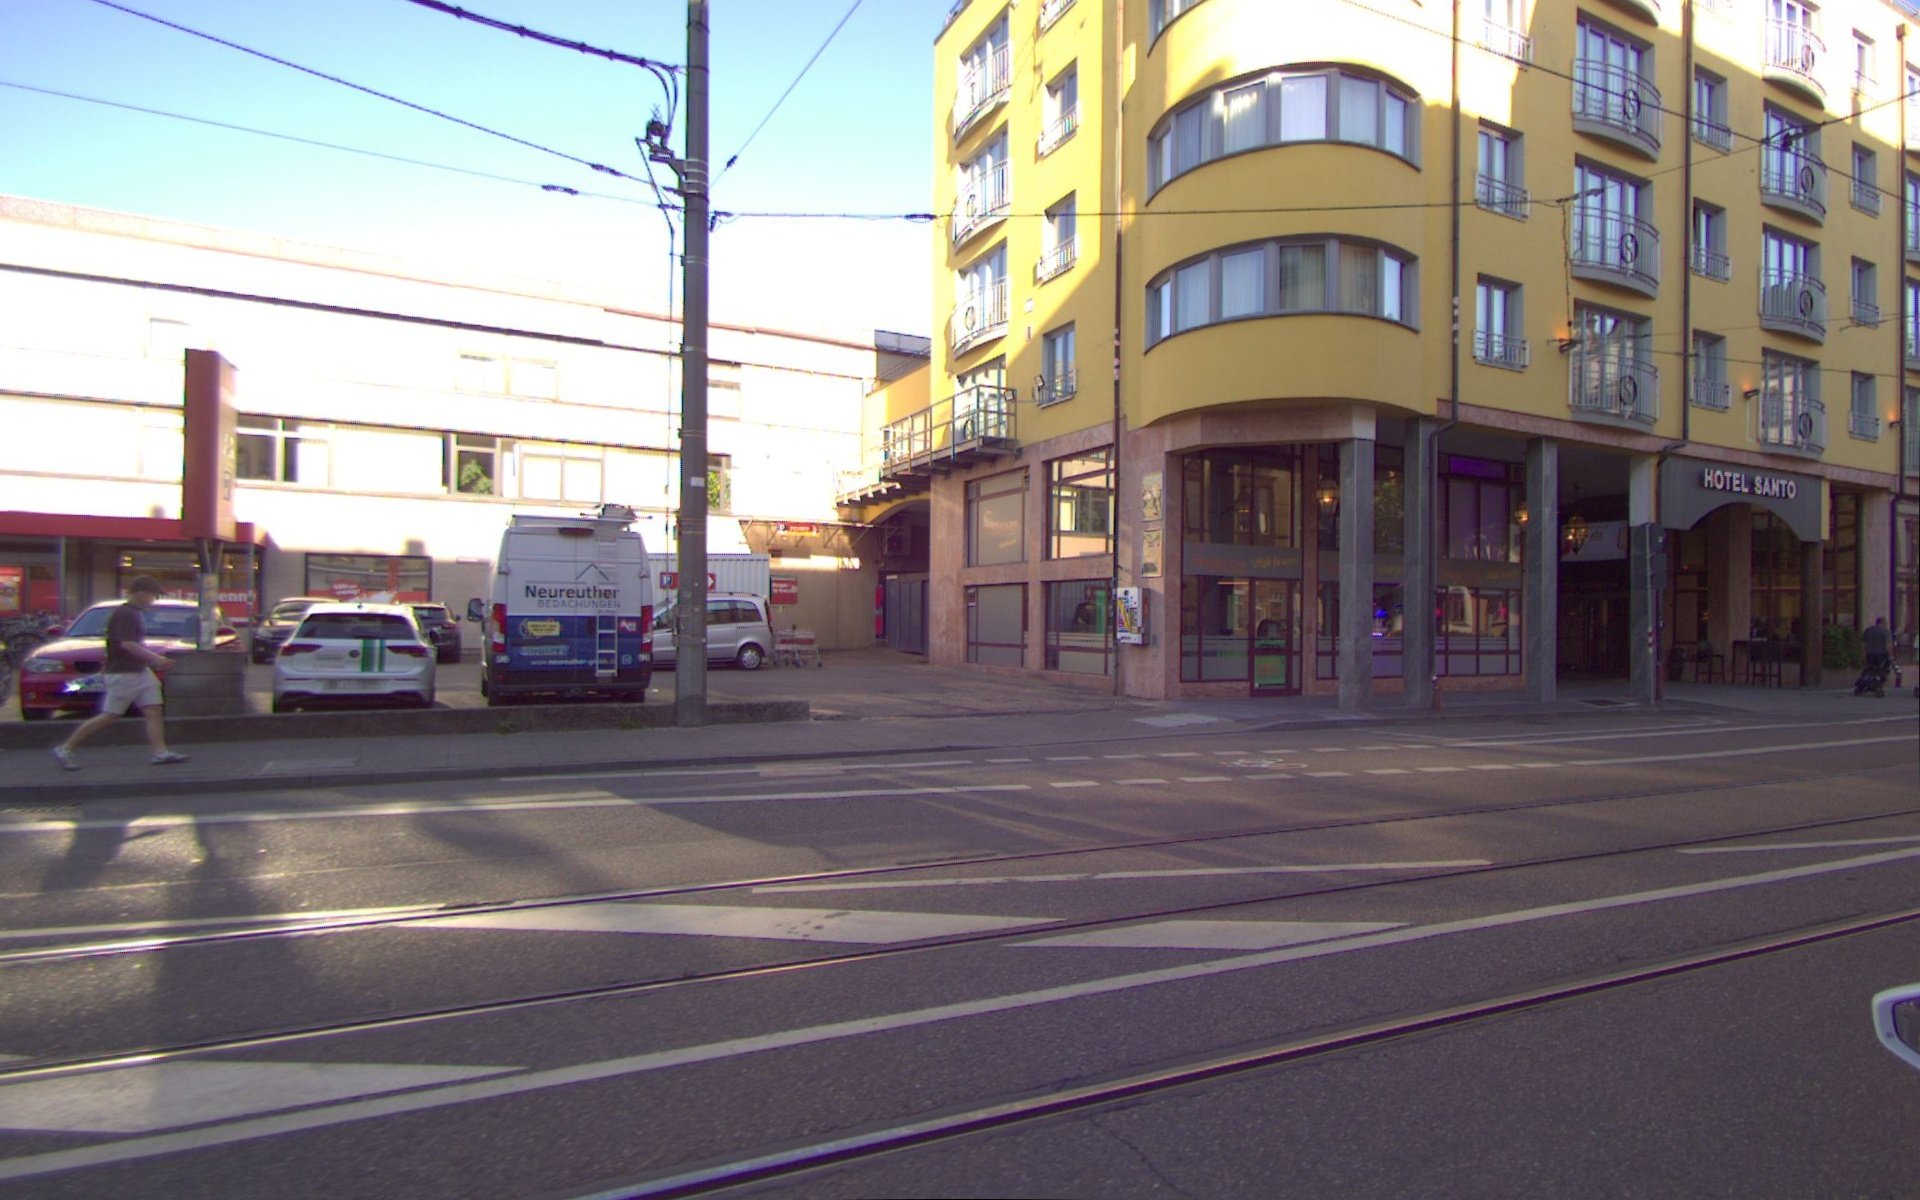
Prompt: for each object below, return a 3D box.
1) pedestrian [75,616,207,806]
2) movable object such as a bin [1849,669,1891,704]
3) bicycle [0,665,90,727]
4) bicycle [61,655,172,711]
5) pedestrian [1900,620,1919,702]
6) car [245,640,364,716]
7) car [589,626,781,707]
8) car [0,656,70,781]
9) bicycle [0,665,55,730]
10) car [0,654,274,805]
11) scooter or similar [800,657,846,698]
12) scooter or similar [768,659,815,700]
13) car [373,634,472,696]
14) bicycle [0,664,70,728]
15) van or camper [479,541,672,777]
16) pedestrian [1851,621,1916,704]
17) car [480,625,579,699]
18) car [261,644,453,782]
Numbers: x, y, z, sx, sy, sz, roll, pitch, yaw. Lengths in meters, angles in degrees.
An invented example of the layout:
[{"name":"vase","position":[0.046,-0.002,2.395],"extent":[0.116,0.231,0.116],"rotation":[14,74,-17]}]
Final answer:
[{"name":"pedestrian","position":[-8.493,1.106,10.468],"extent":[0.898,1.857,0.830],"rotation":[0,-1,-27]},{"name":"movable object such as a bin","position":[20.478,1.938,22.607],"extent":[0.830,0.726,0.382],"rotation":[0,3,-26]},{"name":"bicycle","position":[-19.035,1.959,20.555],"extent":[1.803,1.203,0.431],"rotation":[0,-1,-20]},{"name":"bicycle","position":[-18.597,1.820,22.189],"extent":[1.804,1.203,0.431],"rotation":[1,-2,-20]},{"name":"pedestrian","position":[22.293,1.400,22.985],"extent":[1.032,1.843,0.748],"rotation":[0,3,-27]},{"name":"car","position":[-15.065,1.718,23.286],"extent":[1.976,1.528,3.970],"rotation":[1,-2,-29]},{"name":"car","position":[-6.509,1.507,23.828],"extent":[4.069,1.759,1.985],"rotation":[1,-2,-29]},{"name":"car","position":[-12.793,1.502,12.133],"extent":[1.854,1.495,4.574],"rotation":[0,-2,-26]},{"name":"bicycle","position":[-18.542,1.880,19.190],"extent":[1.803,1.203,0.431],"rotation":[0,-1,-20]},{"name":"car","position":[-10.578,1.527,13.253],"extent":[1.854,1.495,4.574],"rotation":[0,-2,-26]},{"name":"scooter or similar","position":[-3.568,2.006,26.076],"extent":[0.799,0.997,1.264],"rotation":[1,-2,-29]},{"name":"scooter or similar","position":[-4.310,2.010,25.644],"extent":[0.838,0.967,1.281],"rotation":[1,-2,-29]},{"name":"car","position":[-13.267,1.538,24.816],"extent":[1.976,1.372,3.970],"rotation":[1,-2,-29]},{"name":"bicycle","position":[-18.709,1.891,19.729],"extent":[1.803,1.203,0.431],"rotation":[0,-1,-20]},{"name":"van or camper","position":[-6.033,0.798,15.268],"extent":[2.284,2.864,5.589],"rotation":[0,-2,-26]},{"name":"pedestrian","position":[21.163,1.407,23.021],"extent":[0.740,1.795,0.794],"rotation":[0,3,-27]},{"name":"car","position":[-11.193,1.522,25.962],"extent":[1.976,1.723,3.970],"rotation":[1,-2,-29]},{"name":"car","position":[-8.119,1.393,13.917],"extent":[1.854,1.495,4.574],"rotation":[0,-2,-26]}]
